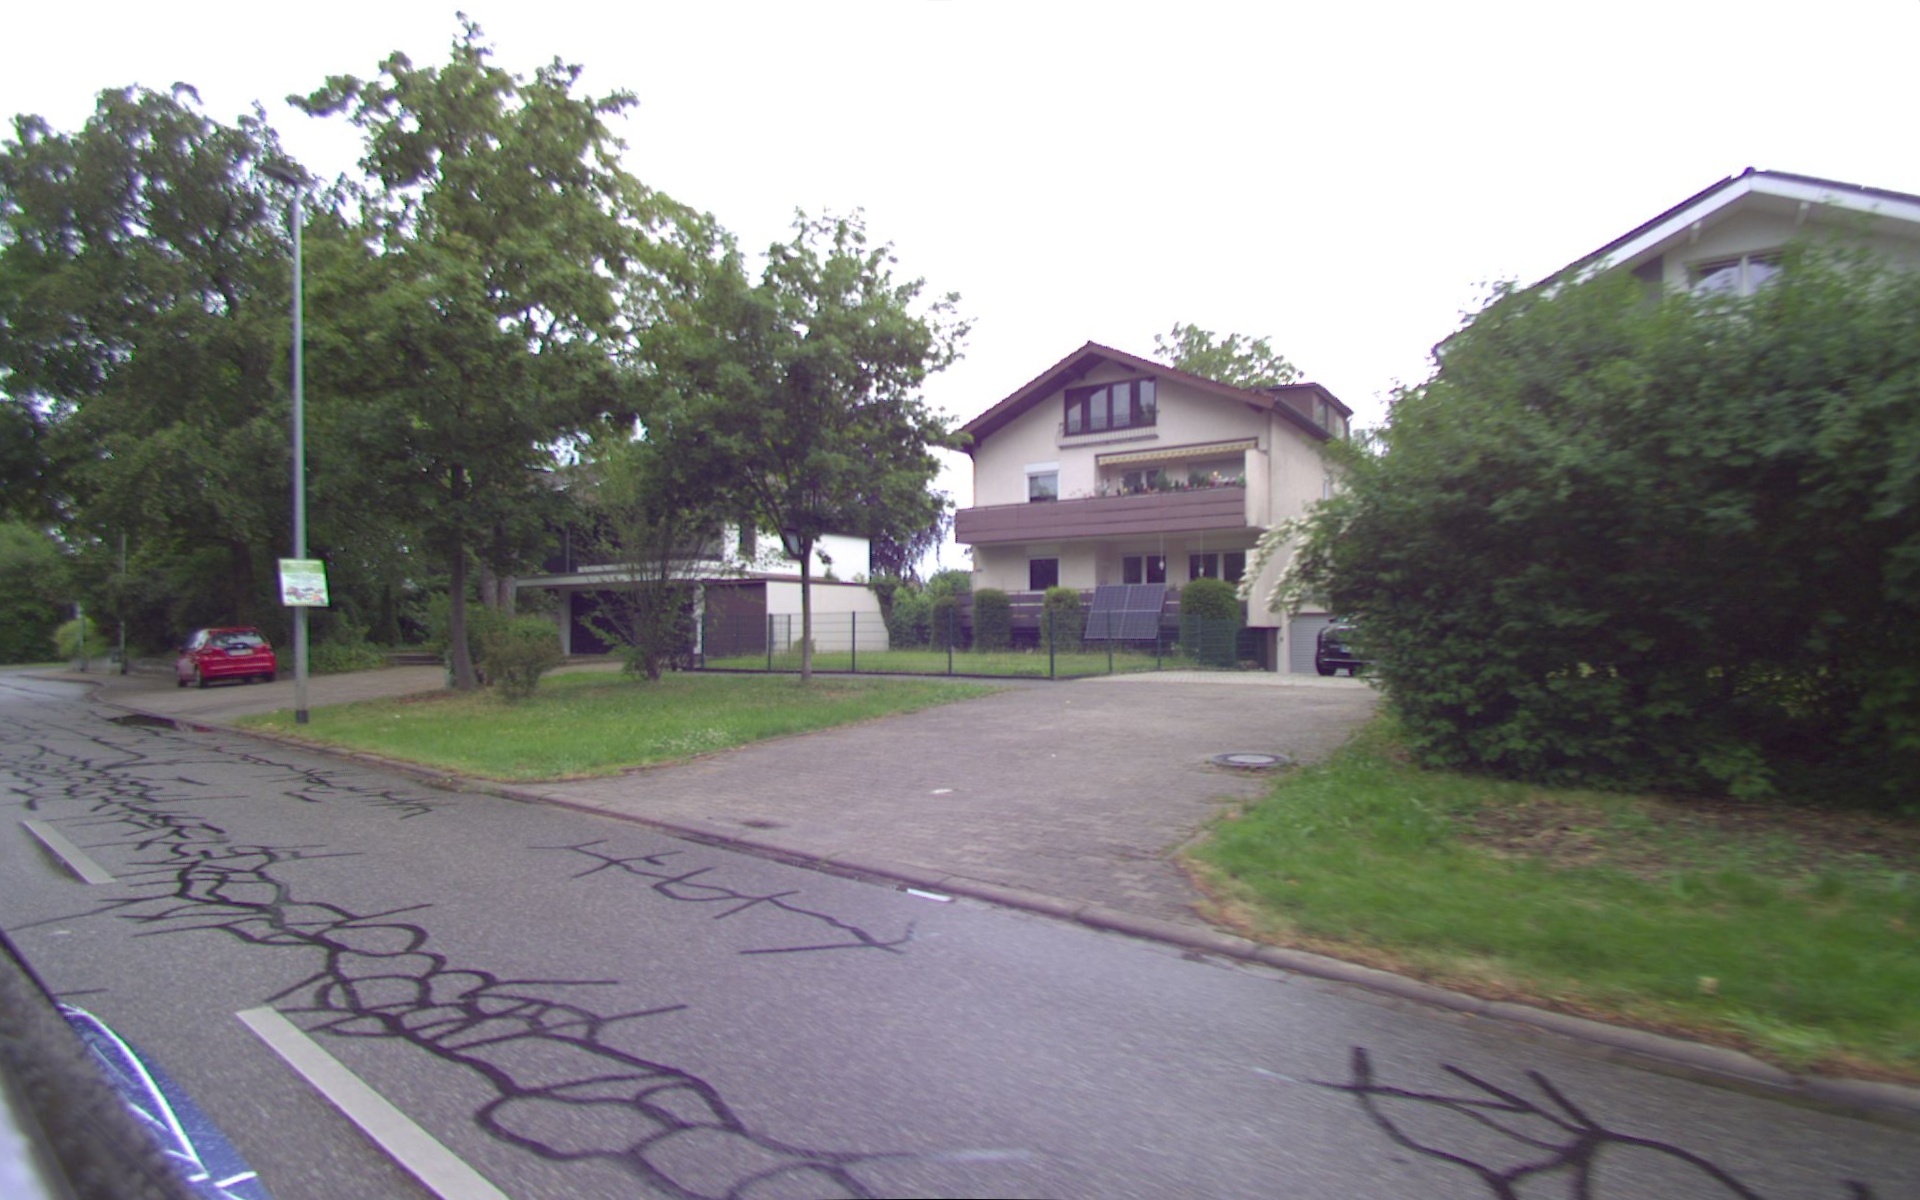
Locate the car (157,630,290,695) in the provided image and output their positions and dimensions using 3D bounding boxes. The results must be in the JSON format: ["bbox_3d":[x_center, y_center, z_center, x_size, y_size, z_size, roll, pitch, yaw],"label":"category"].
[{"bbox_3d":[-19.826,1.686,27.199,3.997,1.527,1.973,-5,-2,40],"label":"car"}]

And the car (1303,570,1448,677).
[{"bbox_3d":[8.891,0.544,21.488,1.995,2.029,3.952,-2,-3,35],"label":"car"}]
